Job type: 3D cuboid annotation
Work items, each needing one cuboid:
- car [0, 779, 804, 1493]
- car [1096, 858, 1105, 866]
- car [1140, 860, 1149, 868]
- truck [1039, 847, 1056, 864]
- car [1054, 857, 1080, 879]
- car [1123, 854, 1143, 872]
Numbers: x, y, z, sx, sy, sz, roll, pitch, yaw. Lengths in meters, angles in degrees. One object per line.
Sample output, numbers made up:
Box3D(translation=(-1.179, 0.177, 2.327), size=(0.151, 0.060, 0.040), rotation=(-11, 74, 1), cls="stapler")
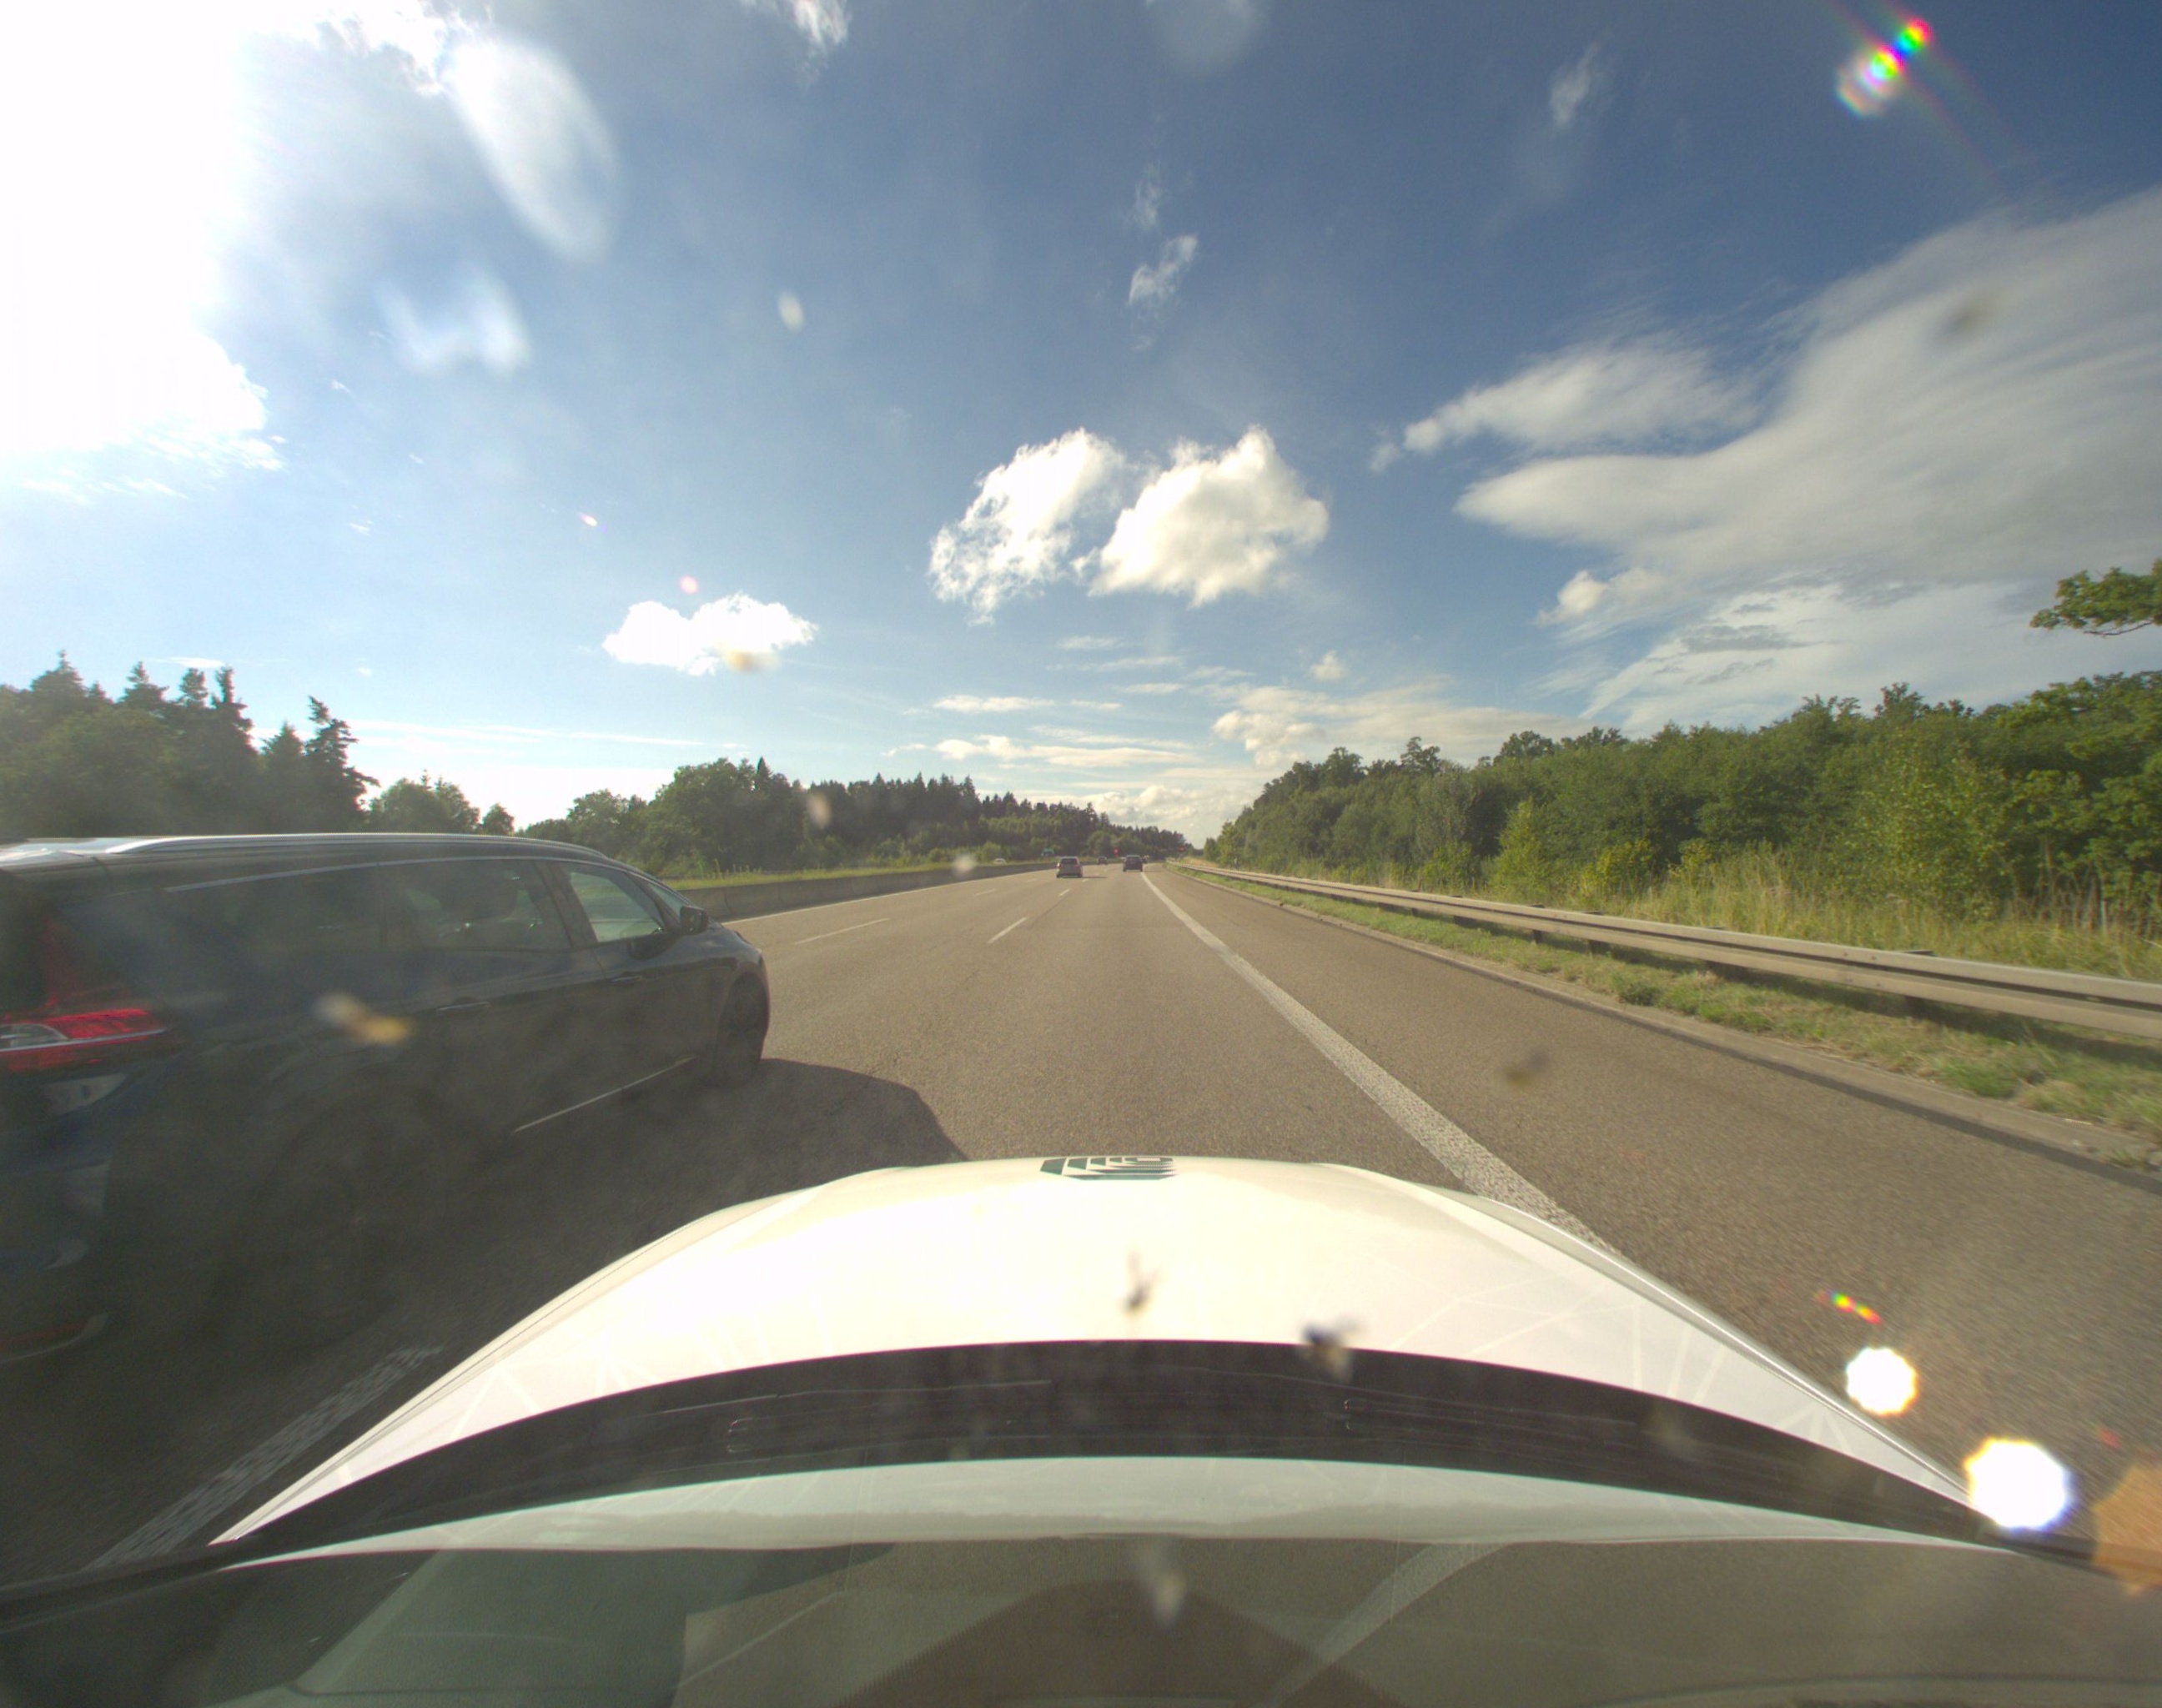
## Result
Box3D(translation=(-3.227, 0.691, 4.216), size=(1.987, 1.707, 4.529), rotation=(-1, 0, 0), cls="car")
Box3D(translation=(3.871, 1.622, 160.185), size=(1.867, 1.497, 3.881), rotation=(-1, 0, 2), cls="car")
Box3D(translation=(14.463, 2.206, 185.977), size=(1.802, 1.706, 4.009), rotation=(-1, 0, 8), cls="car")
Box3D(translation=(-7.919, 0.431, 194.021), size=(3.360, 4.009, 5.871), rotation=(-1, 0, 5), cls="truck")
Box3D(translation=(-1.027, 1.002, 60.306), size=(1.868, 1.497, 3.878), rotation=(-1, 0, -1), cls="car")
Box3D(translation=(5.125, 0.902, 80.230), size=(1.866, 1.675, 3.892), rotation=(-1, 0, 2), cls="car")
